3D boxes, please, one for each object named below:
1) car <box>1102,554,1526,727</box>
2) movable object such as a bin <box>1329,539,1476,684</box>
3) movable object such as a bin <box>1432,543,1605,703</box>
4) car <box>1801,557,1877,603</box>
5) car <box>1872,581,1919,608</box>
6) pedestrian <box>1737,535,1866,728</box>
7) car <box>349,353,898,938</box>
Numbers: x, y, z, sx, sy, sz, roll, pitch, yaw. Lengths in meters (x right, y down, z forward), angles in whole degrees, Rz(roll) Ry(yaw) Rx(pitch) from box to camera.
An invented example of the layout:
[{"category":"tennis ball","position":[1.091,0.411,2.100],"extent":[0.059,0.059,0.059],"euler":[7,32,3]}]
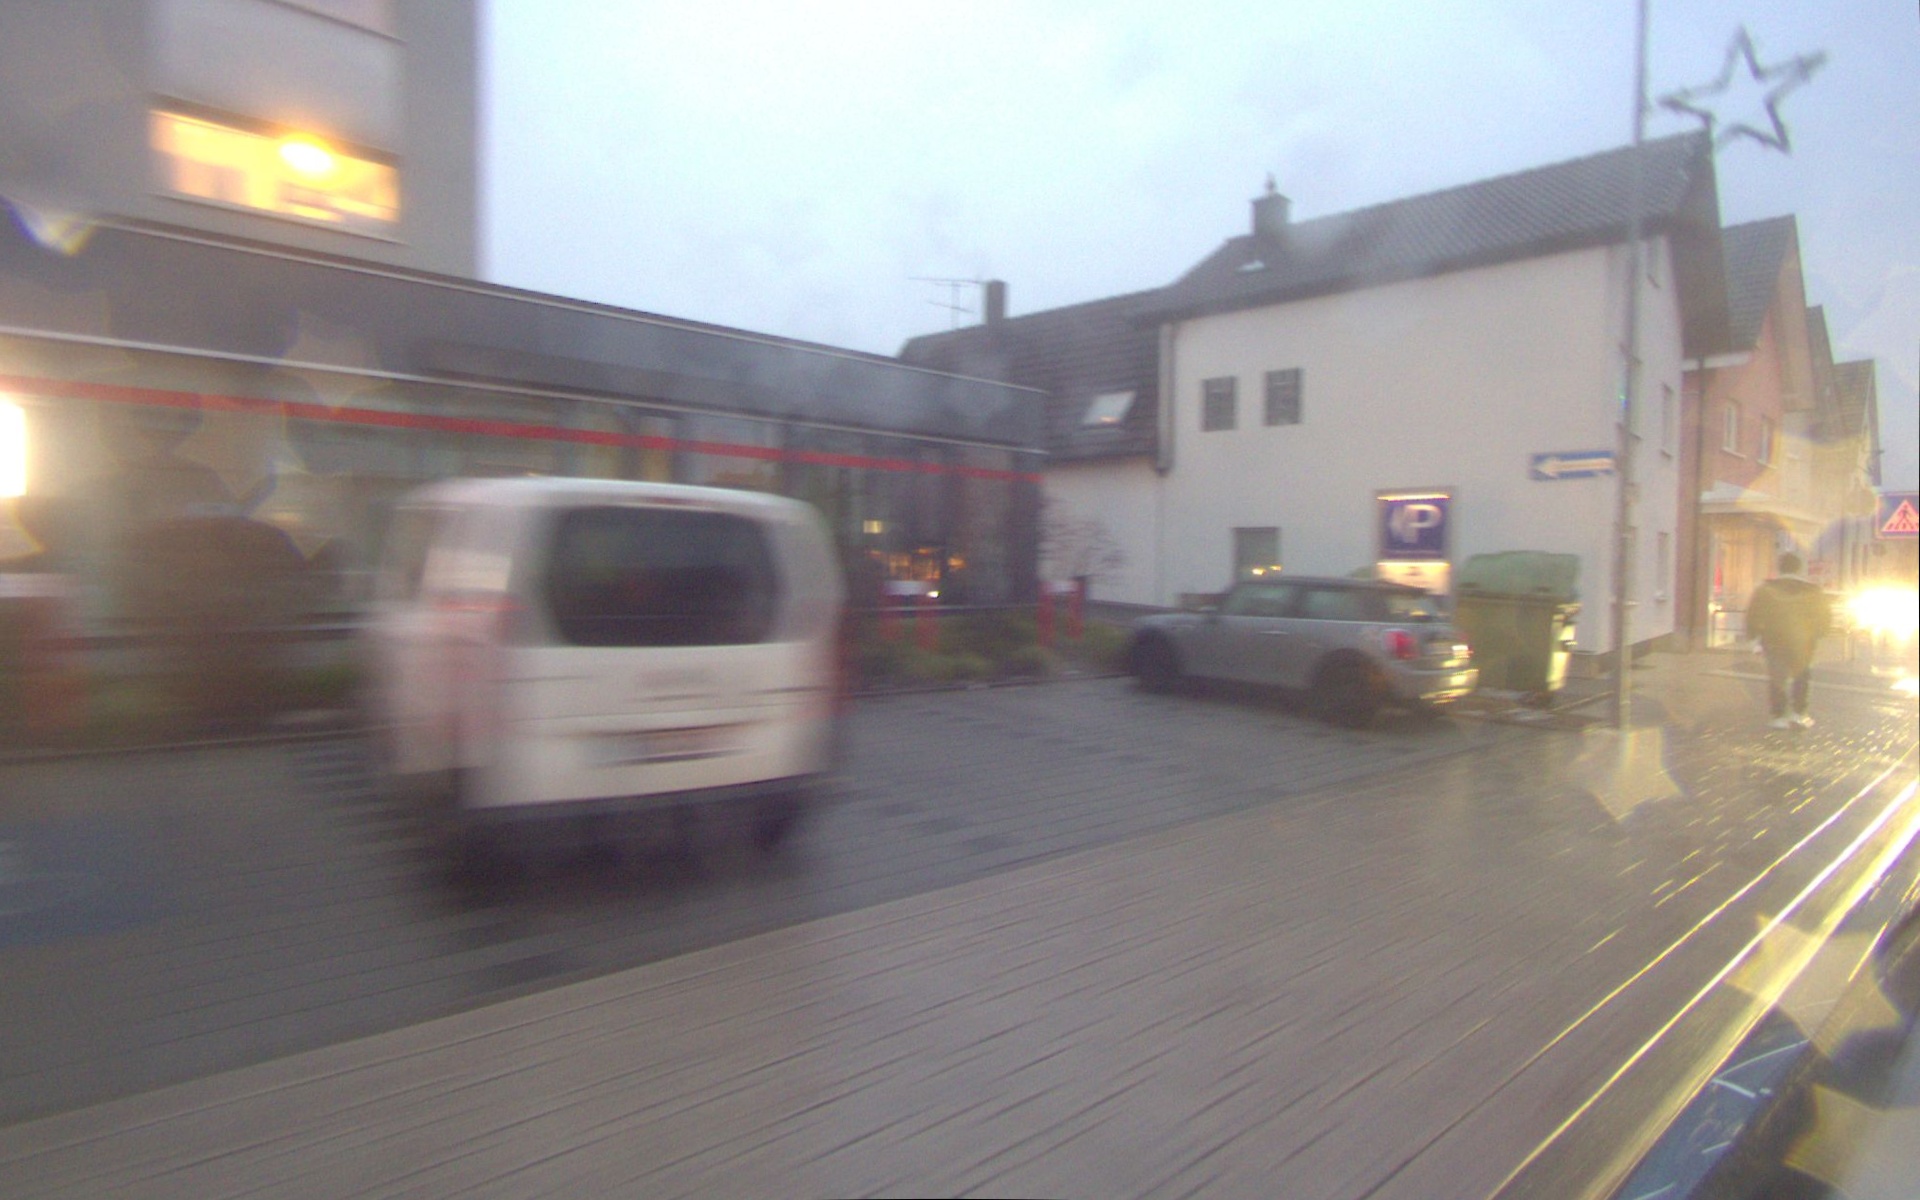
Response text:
[{"category":"car","position":[3.671,0.266,11.087],"extent":[1.879,1.504,3.997],"euler":[-2,3,-39]},{"category":"movable object such as a bin","position":[5.554,0.105,12.723],"extent":[1.286,1.664,1.166],"euler":[5,4,45]},{"category":"movable object such as a bin","position":[6.444,0.215,11.688],"extent":[1.241,1.664,1.394],"euler":[0,3,-45]},{"category":"car","position":[30.811,-0.678,35.573],"extent":[1.927,1.504,4.629],"euler":[0,1,40]},{"category":"car","position":[53.647,-0.333,57.588],"extent":[1.985,1.533,3.953],"euler":[0,1,33]},{"category":"pedestrian","position":[8.916,0.301,10.724],"extent":[0.967,1.913,0.990],"euler":[0,0,45]},{"category":"car","position":[-2.265,0.047,5.839],"extent":[1.961,2.074,4.107],"euler":[0,3,-34]}]
